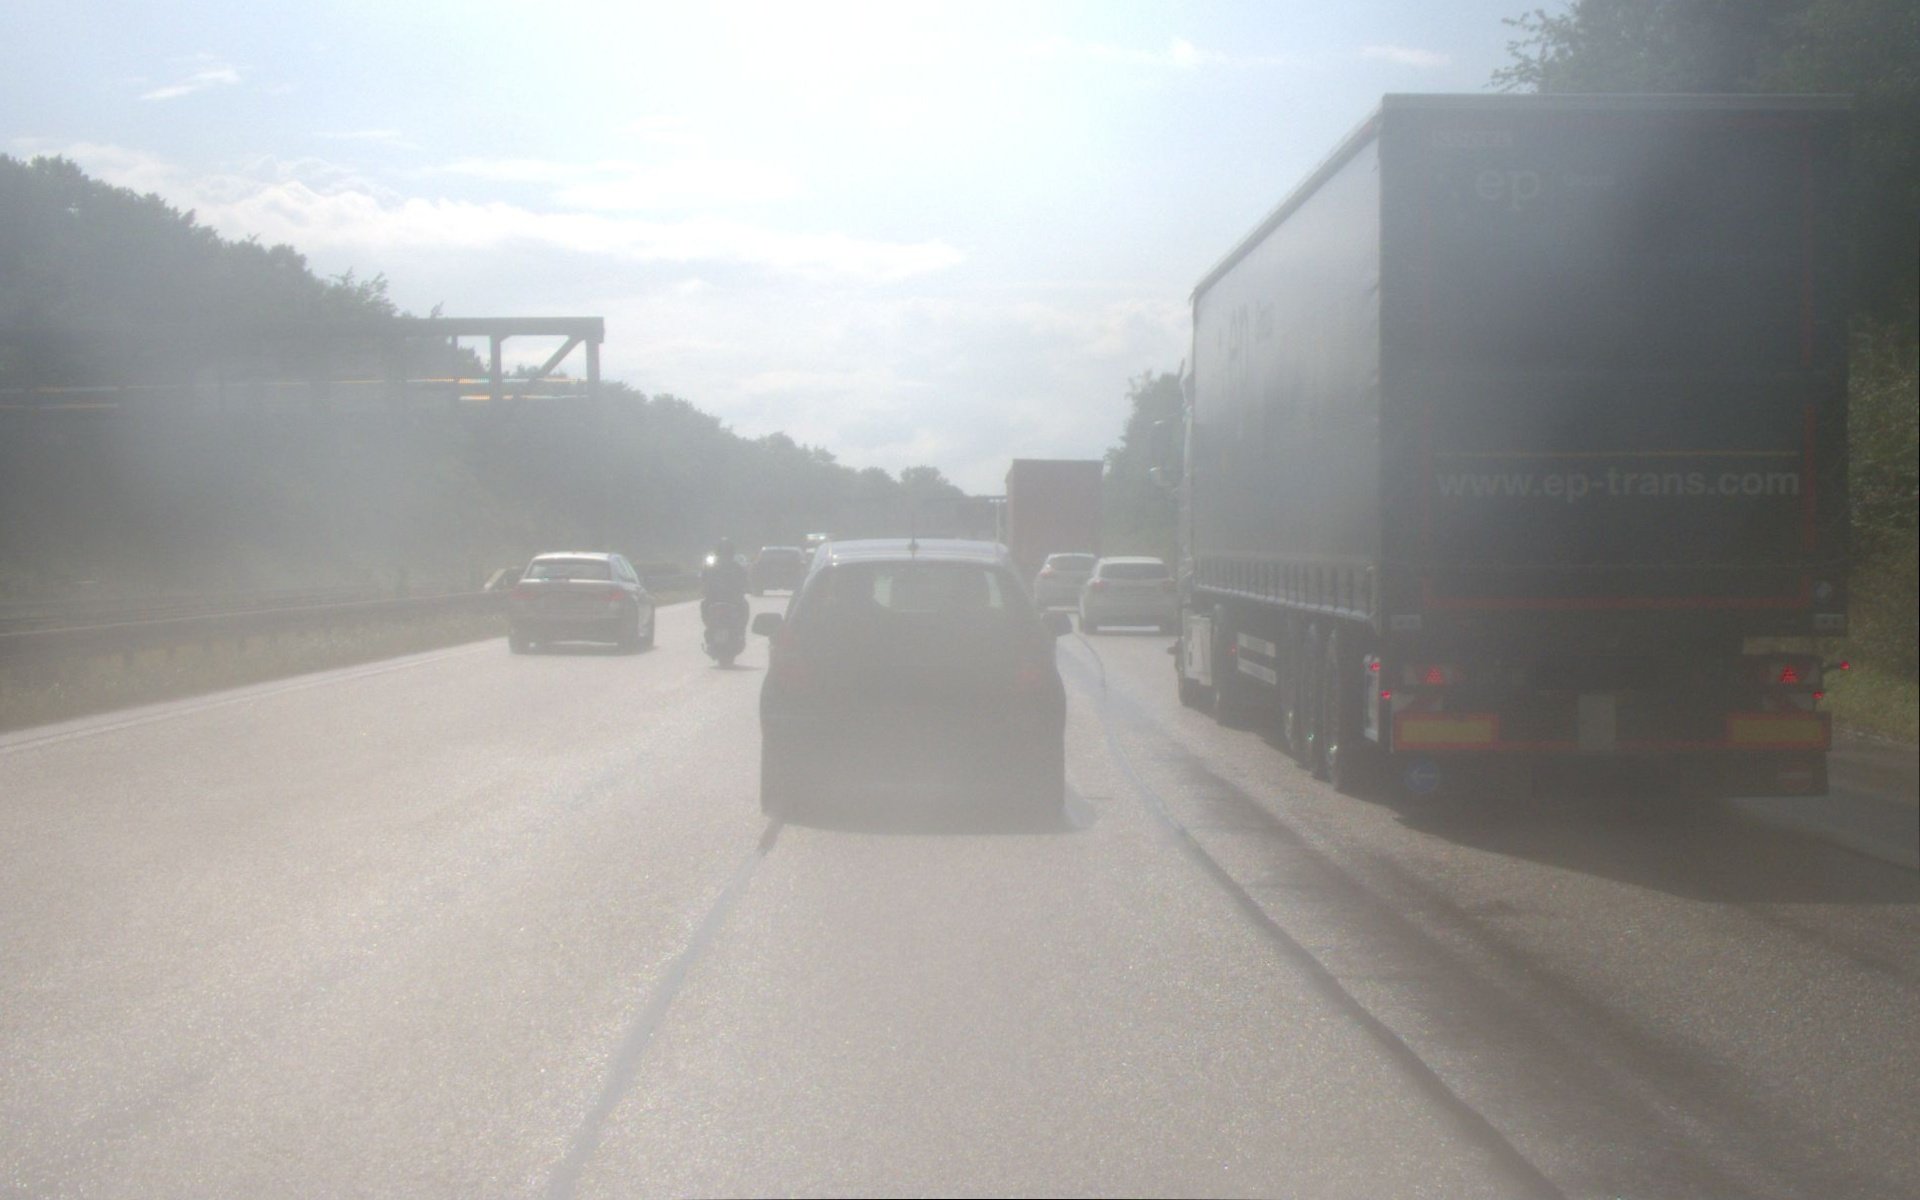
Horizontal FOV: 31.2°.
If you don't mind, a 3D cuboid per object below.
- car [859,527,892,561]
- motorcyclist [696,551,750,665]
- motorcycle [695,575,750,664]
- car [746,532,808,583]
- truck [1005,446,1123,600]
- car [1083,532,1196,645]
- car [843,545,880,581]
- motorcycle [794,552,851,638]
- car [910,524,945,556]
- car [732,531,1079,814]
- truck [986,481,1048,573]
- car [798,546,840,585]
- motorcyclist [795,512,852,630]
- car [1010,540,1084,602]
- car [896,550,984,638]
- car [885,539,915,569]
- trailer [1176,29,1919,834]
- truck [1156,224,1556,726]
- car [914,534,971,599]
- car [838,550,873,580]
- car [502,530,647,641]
[{"bbox_3d":[-5.132,-3.415,209.254,1.993,2.007,4.000,1,1,-1],"label":"car"},{"bbox_3d":[-3.051,0.096,44.259,0.670,1.437,1.020,1,0,-4],"label":"motorcyclist"},{"bbox_3d":[-3.053,0.238,44.329,0.676,1.083,1.982,1,1,-4],"label":"motorcycle"},{"bbox_3d":[-6.012,-1.413,113.124,1.893,1.622,4.195,0,1,-1],"label":"car"},{"bbox_3d":[3.045,-2.286,103.149,3.202,4.389,9.432,0,1,0],"label":"truck"},{"bbox_3d":[3.294,-0.224,63.820,1.849,2.007,4.087,1,1,0],"label":"car"},{"bbox_3d":[-5.528,-2.087,193.719,1.993,2.007,4.000,1,1,-1],"label":"car"},{"bbox_3d":[-2.094,-0.094,52.157,0.819,1.258,2.118,1,1,-3],"label":"motorcycle"},{"bbox_3d":[-1.543,-2.805,162.166,1.631,1.485,3.437,0,1,-1],"label":"car"},{"bbox_3d":[-0.339,0.370,21.215,1.915,1.560,4.314,0,1,-1],"label":"car"},{"bbox_3d":[2.965,-3.809,182.287,2.882,4.671,12.659,1,1,-1],"label":"truck"},{"bbox_3d":[-5.854,-1.437,143.158,1.675,1.591,3.437,0,1,-1],"label":"car"},{"bbox_3d":[-2.075,-0.435,52.069,0.821,1.754,1.390,1,0,-3],"label":"motorcyclist"},{"bbox_3d":[2.148,-0.734,85.338,1.675,1.485,3.437,0,1,-1],"label":"car"},{"bbox_3d":[-0.499,-0.161,81.325,1.993,2.007,4.000,1,1,-1],"label":"car"},{"bbox_3d":[-4.043,-3.095,232.994,1.993,2.007,4.000,1,1,-1],"label":"car"},{"bbox_3d":[3.596,-1.008,25.489,3.088,4.298,14.105,0,1,0],"label":"trailer"},{"bbox_3d":[3.590,-1.129,32.666,3.052,4.310,5.886,1,1,0],"label":"truck"},{"bbox_3d":[-0.552,-1.032,105.275,1.675,1.929,3.774,0,1,-1],"label":"car"},{"bbox_3d":[-5.119,-1.735,169.397,1.675,1.485,3.437,0,1,-1],"label":"car"},{"bbox_3d":[-5.727,-0.240,51.514,1.758,1.589,4.331,0,1,-1],"label":"car"}]
